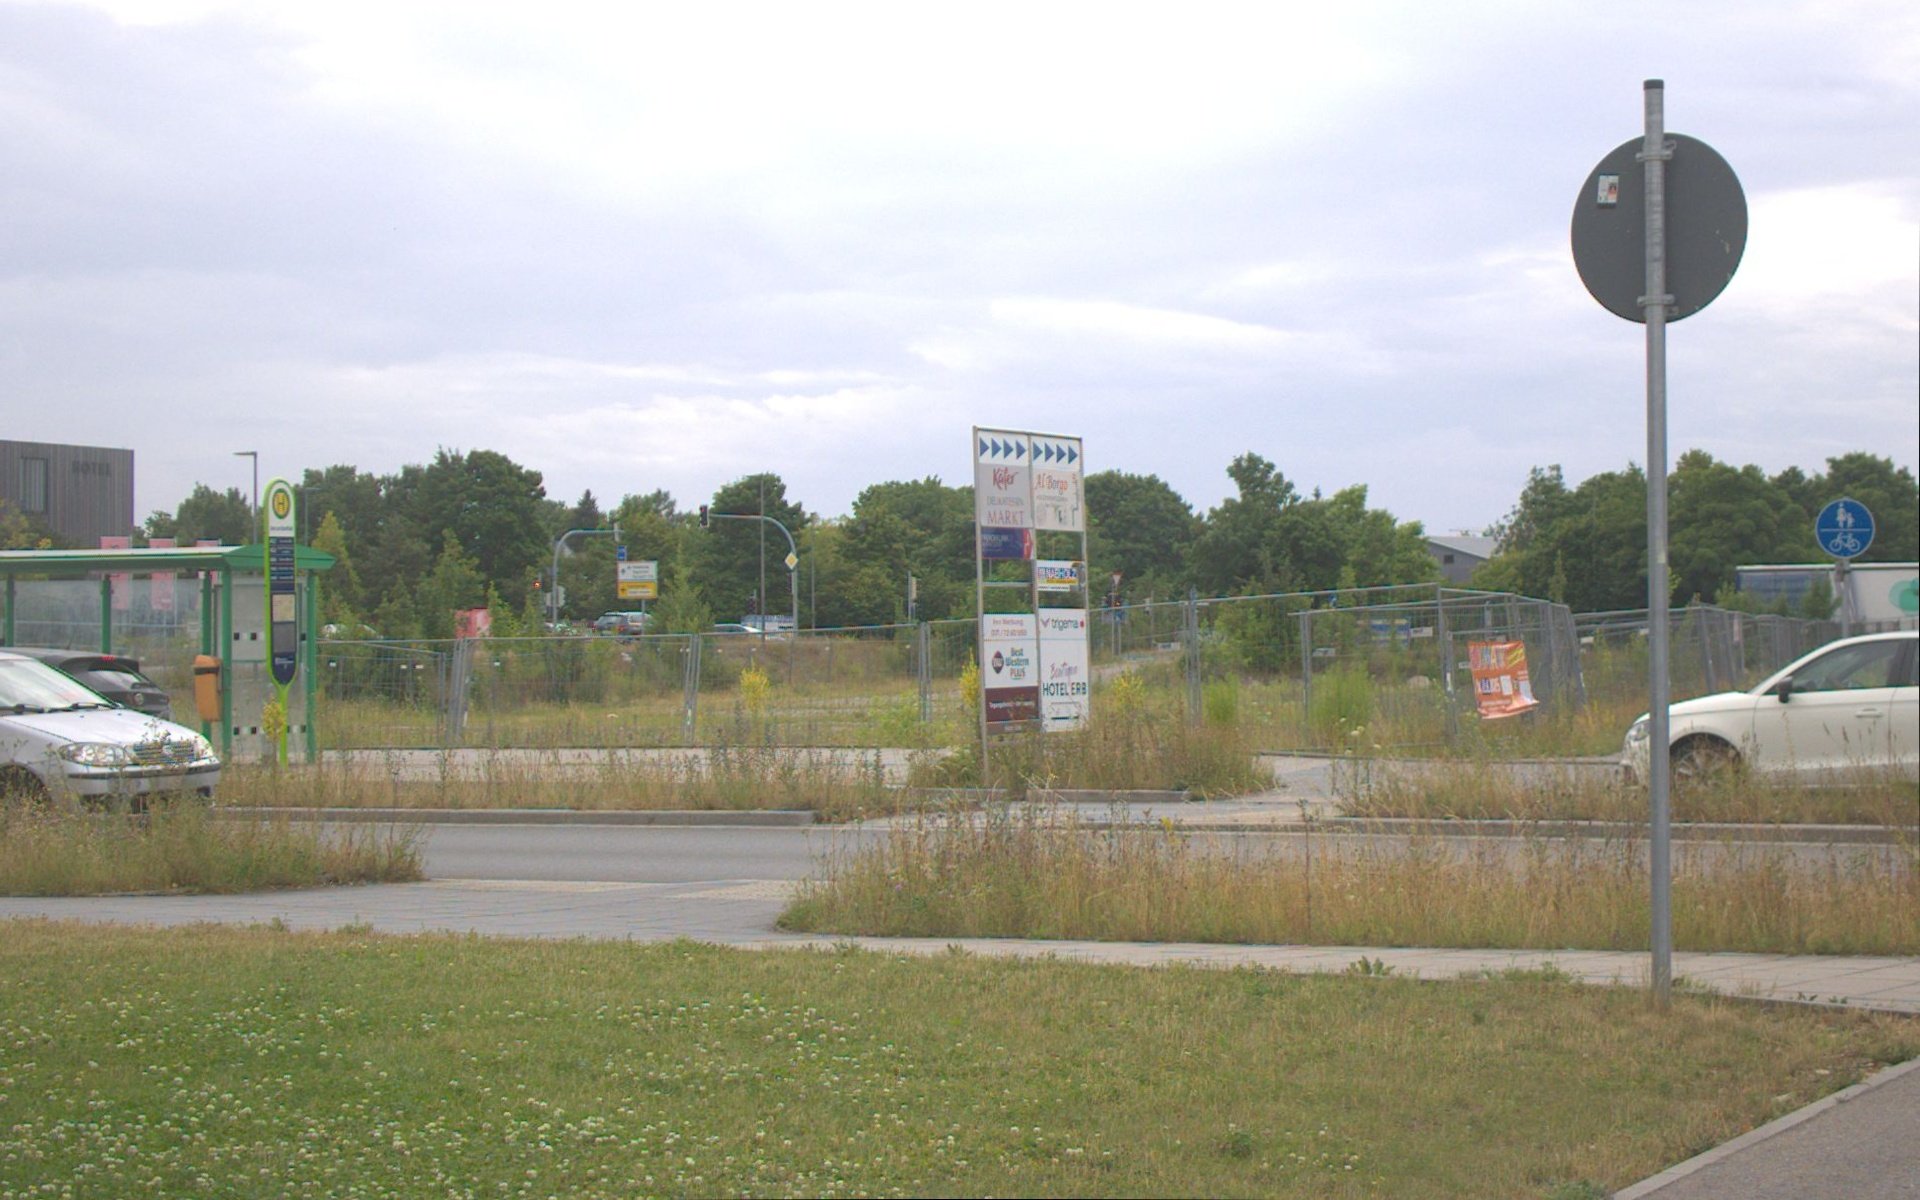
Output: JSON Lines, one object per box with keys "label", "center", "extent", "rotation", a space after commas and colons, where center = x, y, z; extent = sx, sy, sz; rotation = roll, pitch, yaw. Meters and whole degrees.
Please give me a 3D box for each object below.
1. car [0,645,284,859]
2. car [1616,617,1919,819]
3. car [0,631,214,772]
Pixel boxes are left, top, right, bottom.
{"label": "car", "center": [-7.072, 1.081, 25.260], "extent": [3.809, 1.456, 1.798], "rotation": [-1, -1, 26]}
{"label": "car", "center": [7.205, 0.878, 26.046], "extent": [4.049, 1.476, 1.755], "rotation": [0, -1, 28]}
{"label": "car", "center": [-9.734, 0.990, 34.851], "extent": [4.057, 1.338, 1.716], "rotation": [0, 0, 26]}
